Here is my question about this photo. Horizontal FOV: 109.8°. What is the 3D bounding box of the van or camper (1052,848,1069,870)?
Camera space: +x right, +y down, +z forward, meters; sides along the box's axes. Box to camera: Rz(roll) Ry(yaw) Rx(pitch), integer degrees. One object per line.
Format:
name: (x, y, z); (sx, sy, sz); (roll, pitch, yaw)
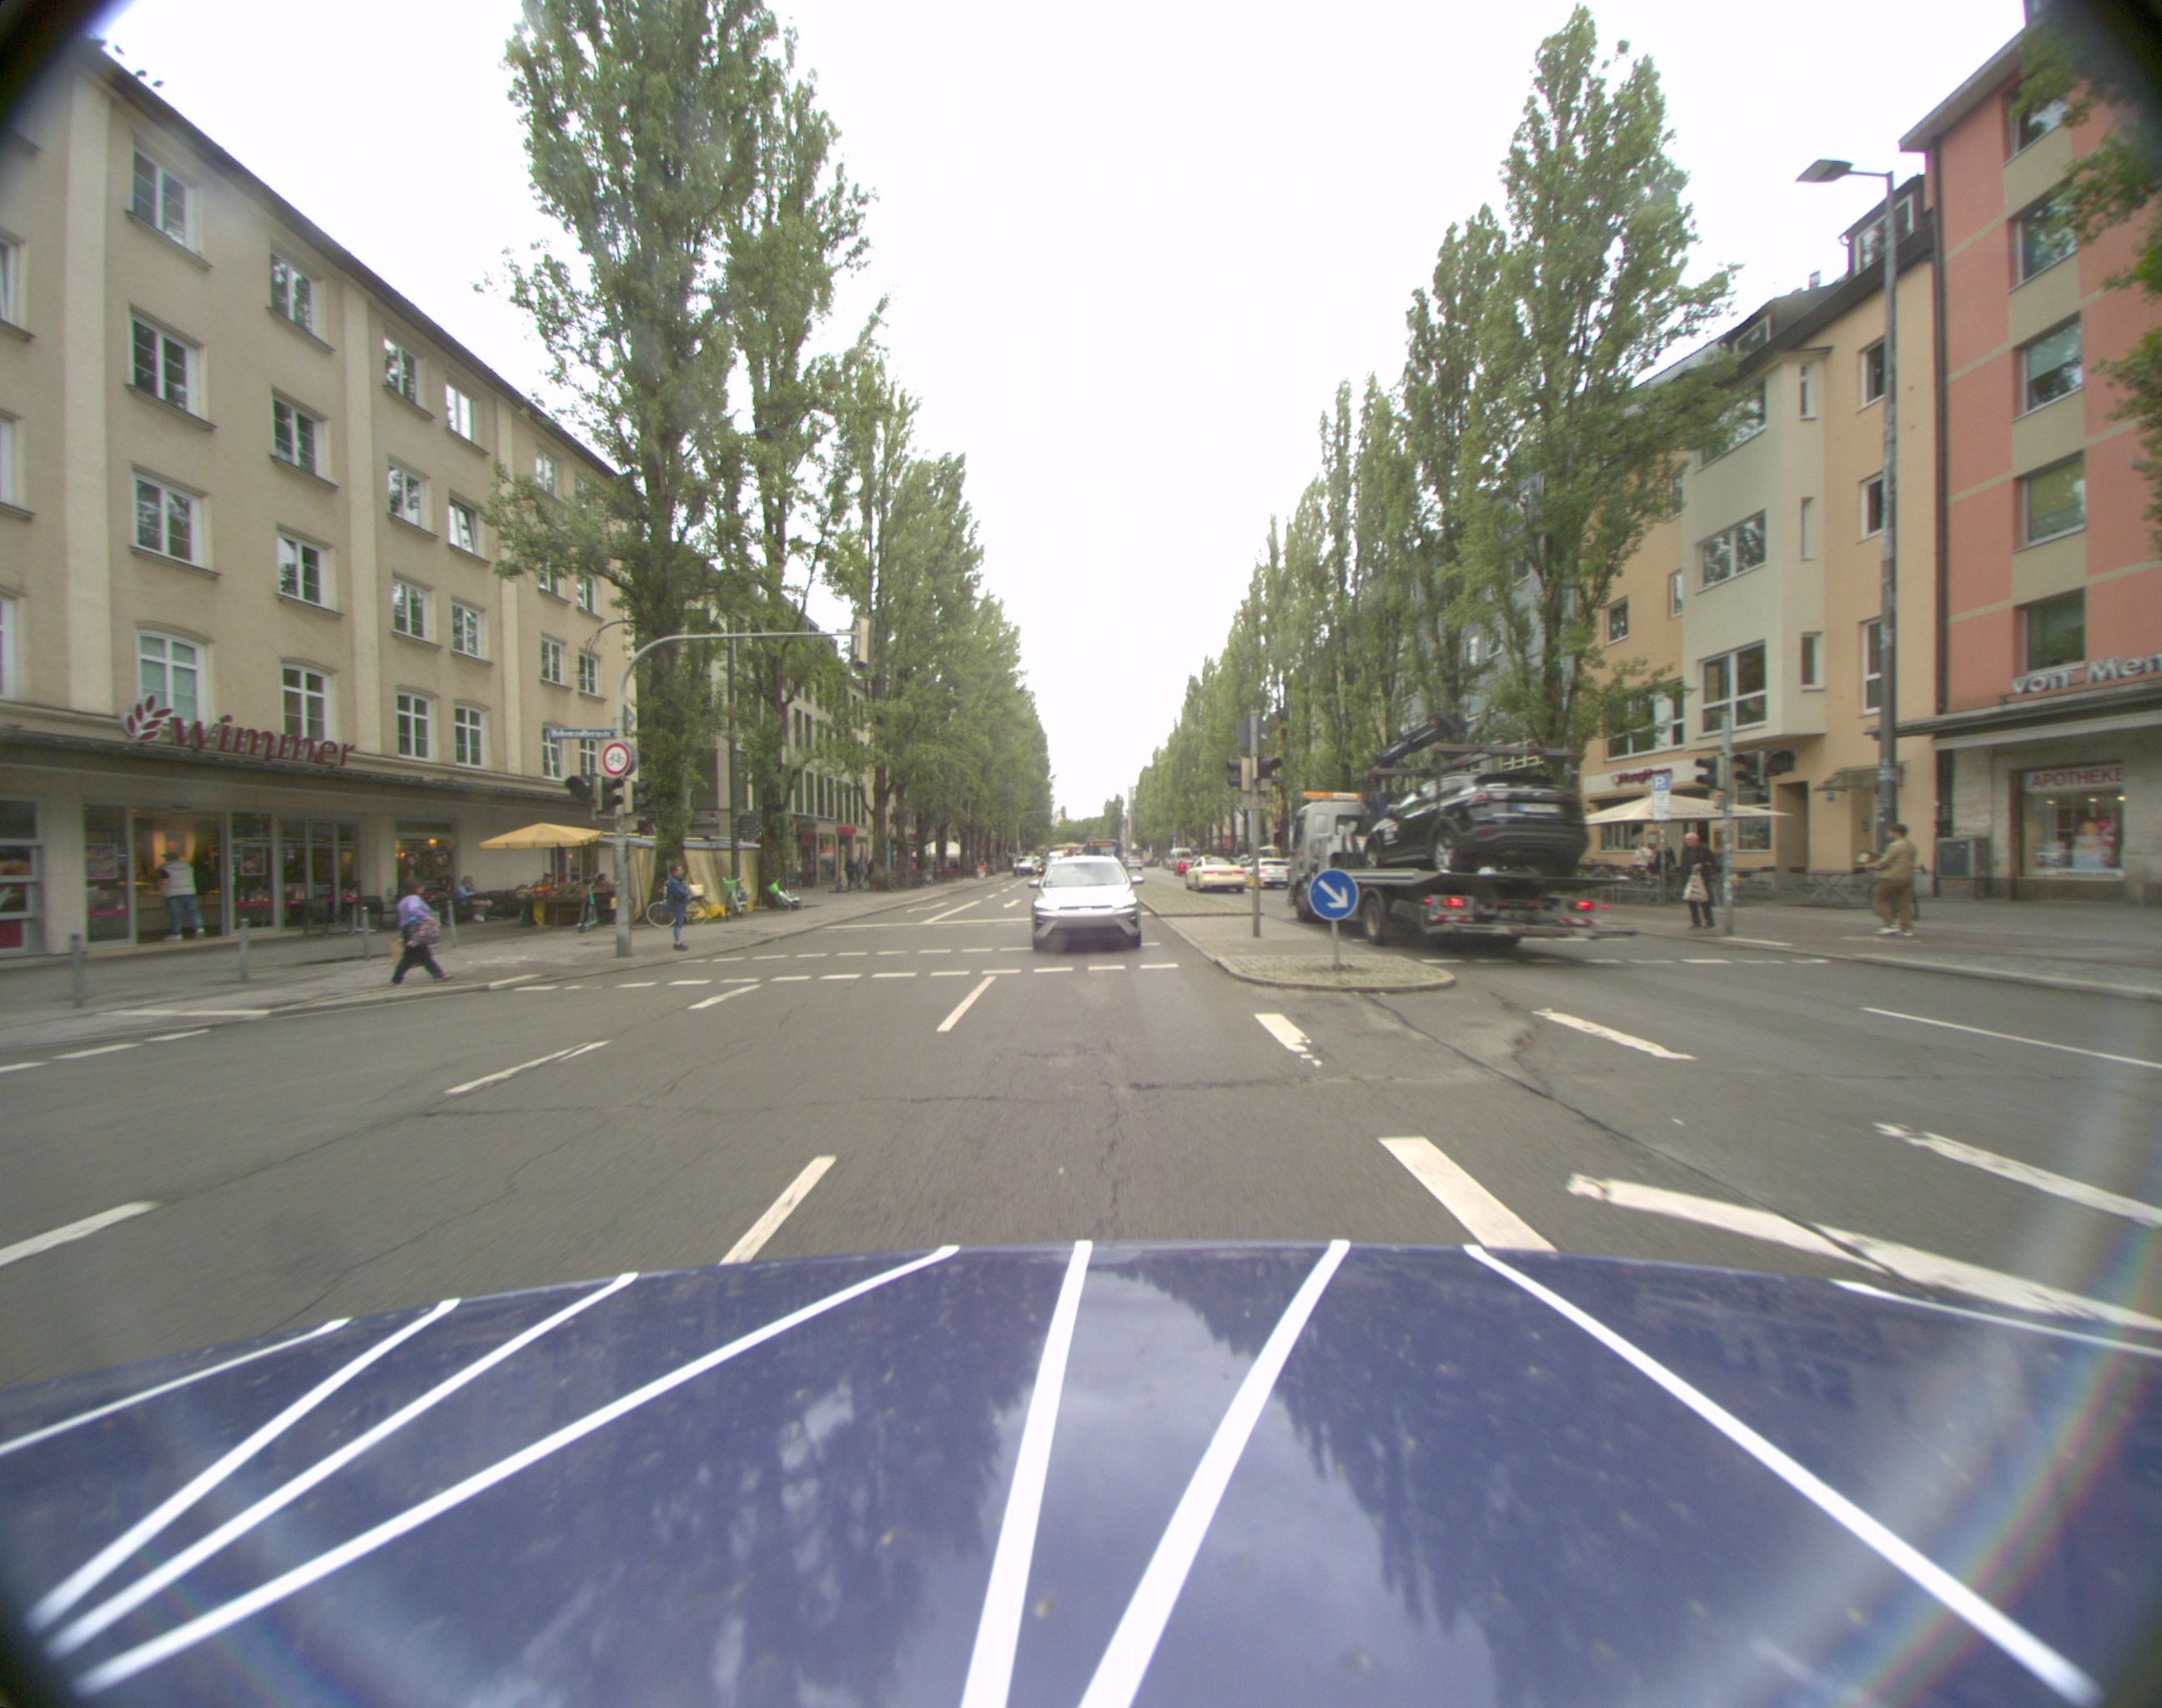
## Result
van or camper: (-2.731, 0.568, 100.674); (1.998, 2.472, 6.639); (-2, 3, 0)

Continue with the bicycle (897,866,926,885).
bicycle: (-10.405, 1.316, 46.668); (1.666, 1.100, 0.396); (-1, 1, -11)

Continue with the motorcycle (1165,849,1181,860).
motorcycle: (12.404, 0.102, 102.236); (2.023, 1.413, 0.570); (-1, 1, -7)

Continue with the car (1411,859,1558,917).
car: (11.388, 0.885, 21.857); (1.707, 1.430, 4.589); (0, 1, -1)

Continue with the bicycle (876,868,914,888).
bicycle: (-10.224, 1.312, 41.858); (2.005, 1.077, 0.286); (-1, 1, -9)

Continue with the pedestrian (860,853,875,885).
pedestrian: (-13.312, 0.944, 47.351); (0.658, 1.959, 0.722); (-1, 0, 3)

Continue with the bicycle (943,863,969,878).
bicycle: (-9.802, 1.254, 59.633); (1.902, 1.120, 0.686); (-1, 0, 0)

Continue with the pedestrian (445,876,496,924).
pedestrian: (-16.649, 1.251, 20.726); (0.777, 1.257, 0.699); (-1, 1, 1)

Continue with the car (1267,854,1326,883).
car: (11.322, 0.729, 40.222); (1.707, 1.404, 4.432); (0, 1, -2)

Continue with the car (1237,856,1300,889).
car: (8.724, 0.832, 35.778); (1.827, 1.400, 4.632); (0, 0, 0)

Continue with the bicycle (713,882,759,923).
bicycle: (-9.636, 1.335, 21.277); (0.510, 1.042, 1.770); (-1, 0, -2)

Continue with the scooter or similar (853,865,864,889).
scooter or similar: (-12.403, 1.276, 42.320); (0.248, 1.266, 1.036); (-1, 0, 0)

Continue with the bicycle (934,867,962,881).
bicycle: (-9.196, 1.383, 52.535); (1.842, 1.003, 0.393); (0, 1, 9)

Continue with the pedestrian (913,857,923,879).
pedestrian: (-12.940, 1.122, 60.251); (0.566, 1.732, 0.697); (-2, 0, 3)

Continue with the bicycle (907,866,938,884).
bicycle: (-9.943, 1.314, 47.756); (1.871, 1.129, 0.339); (-1, 1, -8)

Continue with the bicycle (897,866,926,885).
bicycle: (-10.312, 1.335, 46.243); (1.679, 1.110, 0.286); (-1, 1, -12)

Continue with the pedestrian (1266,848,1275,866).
pedestrian: (19.627, 0.295, 78.825); (0.749, 1.784, 0.716); (-1, 1, 1)

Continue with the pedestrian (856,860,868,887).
pedestrian: (-14.545, 1.276, 50.560); (0.566, 1.774, 0.674); (-1, 0, 2)

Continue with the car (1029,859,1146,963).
car: (0.092, 0.884, 13.601); (1.758, 1.529, 3.916); (-1, 0, 0)

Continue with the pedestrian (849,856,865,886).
pedestrian: (-14.020, 1.054, 47.576); (0.658, 1.840, 0.906); (-1, 0, 2)

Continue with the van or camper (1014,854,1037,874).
van or camper: (-5.488, 0.998, 75.960); (1.795, 1.894, 4.566); (-2, 0, 1)

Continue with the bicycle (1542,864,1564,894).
bicycle: (16.209, 0.848, 26.085); (0.324, 0.953, 1.538); (-1, 1, 44)

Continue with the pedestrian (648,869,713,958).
pedestrian: (-7.557, 1.103, 14.390); (0.767, 1.600, 0.864); (-1, 0, -4)

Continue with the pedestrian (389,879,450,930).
pedestrian: (-16.587, 1.266, 19.070); (0.870, 1.192, 0.699); (3, 1, 1)

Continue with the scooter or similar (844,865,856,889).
scooter or similar: (-12.875, 1.281, 42.310); (0.331, 1.266, 1.036); (-1, 0, 0)

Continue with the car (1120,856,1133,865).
car: (6.902, 1.008, 115.421); (1.841, 1.353, 4.176); (1, 0, 0)

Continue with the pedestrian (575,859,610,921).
pedestrian: (-13.413, 0.970, 20.872); (0.541, 1.663, 0.537); (-1, 1, 7)

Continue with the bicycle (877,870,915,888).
bicycle: (-10.268, 1.405, 42.207); (2.005, 0.939, 0.286); (-1, 1, -8)

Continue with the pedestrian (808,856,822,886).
pedestrian: (-16.002, 1.008, 45.675); (0.548, 1.757, 0.642); (-2, 0, 0)

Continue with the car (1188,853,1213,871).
car: (11.518, 0.721, 73.400); (1.707, 1.623, 4.503); (0, 1, 0)

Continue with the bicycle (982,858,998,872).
bicycle: (-9.663, 1.203, 80.931); (0.829, 1.403, 2.594); (-2, 0, -26)

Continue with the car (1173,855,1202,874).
car: (8.475, 0.796, 60.596); (1.741, 1.429, 3.823); (0, 0, 0)

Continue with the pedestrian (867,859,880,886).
pedestrian: (-13.781, 1.244, 50.471); (0.658, 1.774, 0.674); (-1, 0, 1)

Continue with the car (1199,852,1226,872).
car: (11.774, 0.673, 68.427); (1.622, 1.677, 3.770); (1, 1, -2)

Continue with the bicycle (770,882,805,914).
bicycle: (-9.681, 1.434, 25.124); (0.510, 0.970, 1.770); (-1, 0, -1)

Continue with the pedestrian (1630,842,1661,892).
pedestrian: (19.522, 0.435, 26.274); (0.556, 1.707, 0.692); (-1, 0, 0)

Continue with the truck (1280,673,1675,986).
truck: (5.790, -0.308, 13.194); (2.469, 3.649, 8.438); (-1, 0, 0)

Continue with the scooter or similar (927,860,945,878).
scooter or similar: (-10.337, 1.064, 54.208); (0.285, 1.163, 1.246); (-2, 1, 42)

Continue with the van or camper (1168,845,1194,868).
van or camper: (11.655, 0.338, 88.828); (2.131, 2.535, 6.644); (-1, 0, 1)

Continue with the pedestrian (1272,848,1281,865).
pedestrian: (20.255, 0.267, 78.832); (0.749, 1.784, 0.716); (-1, 1, 1)

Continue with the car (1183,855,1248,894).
car: (5.574, 0.804, 32.047); (1.848, 1.493, 4.986); (0, 0, 0)

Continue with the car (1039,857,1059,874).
car: (-3.073, 1.103, 73.315); (1.758, 1.529, 3.916); (-3, 0, 0)

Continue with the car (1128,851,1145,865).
car: (6.795, 0.442, 92.996); (1.848, 1.626, 4.575); (0, 0, 1)

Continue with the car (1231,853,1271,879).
car: (11.515, 0.756, 51.690); (1.784, 1.671, 4.586); (0, 1, 1)

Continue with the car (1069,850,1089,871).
car: (-0.206, 0.671, 84.586); (2.024, 2.235, 4.411); (-3, 0, 1)

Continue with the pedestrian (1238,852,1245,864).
pedestrian: (19.080, 0.470, 90.151); (0.649, 1.430, 0.551); (-1, 1, -5)

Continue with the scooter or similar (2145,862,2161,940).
scooter or similar: (16.548, 0.714, 10.951); (0.408, 1.166, 1.403); (-1, 0, -4)

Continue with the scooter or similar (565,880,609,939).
scooter or similar: (-11.170, 1.229, 17.211); (0.408, 1.236, 1.370); (-1, 0, -16)

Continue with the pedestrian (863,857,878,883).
pedestrian: (-15.128, 1.121, 54.629); (0.753, 1.843, 0.821); (-2, 0, 2)

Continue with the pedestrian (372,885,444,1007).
pedestrian: (-9.167, 1.216, 10.344); (0.767, 1.509, 0.620); (1, 3, 44)

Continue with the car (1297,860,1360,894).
car: (11.212, 0.990, 34.654); (1.497, 1.373, 4.186); (0, 1, 0)

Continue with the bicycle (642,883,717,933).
bicycle: (-9.937, 1.317, 18.867); (0.405, 1.064, 1.813); (-6, 0, 16)

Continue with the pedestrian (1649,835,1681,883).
pedestrian: (20.111, 0.182, 26.163); (0.556, 1.629, 0.692); (-1, 0, 0)

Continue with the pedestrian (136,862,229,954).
pedestrian: (-17.473, 1.035, 14.799); (0.666, 1.693, 0.860); (-1, 2, 1)

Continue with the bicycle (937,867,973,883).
bicycle: (-9.641, 1.597, 58.327); (2.577, 1.208, 0.965); (-1, 0, 0)

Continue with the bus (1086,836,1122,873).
bus: (2.001, 0.027, 67.537); (2.806, 2.886, 12.859); (-1, 0, 2)

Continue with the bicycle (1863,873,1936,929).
bicycle: (15.952, 0.887, 14.844); (0.329, 0.980, 1.814); (-1, 0, 26)

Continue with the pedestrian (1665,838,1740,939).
pedestrian: (11.496, 0.614, 14.090); (0.736, 1.785, 0.994); (-2, 1, 18)
